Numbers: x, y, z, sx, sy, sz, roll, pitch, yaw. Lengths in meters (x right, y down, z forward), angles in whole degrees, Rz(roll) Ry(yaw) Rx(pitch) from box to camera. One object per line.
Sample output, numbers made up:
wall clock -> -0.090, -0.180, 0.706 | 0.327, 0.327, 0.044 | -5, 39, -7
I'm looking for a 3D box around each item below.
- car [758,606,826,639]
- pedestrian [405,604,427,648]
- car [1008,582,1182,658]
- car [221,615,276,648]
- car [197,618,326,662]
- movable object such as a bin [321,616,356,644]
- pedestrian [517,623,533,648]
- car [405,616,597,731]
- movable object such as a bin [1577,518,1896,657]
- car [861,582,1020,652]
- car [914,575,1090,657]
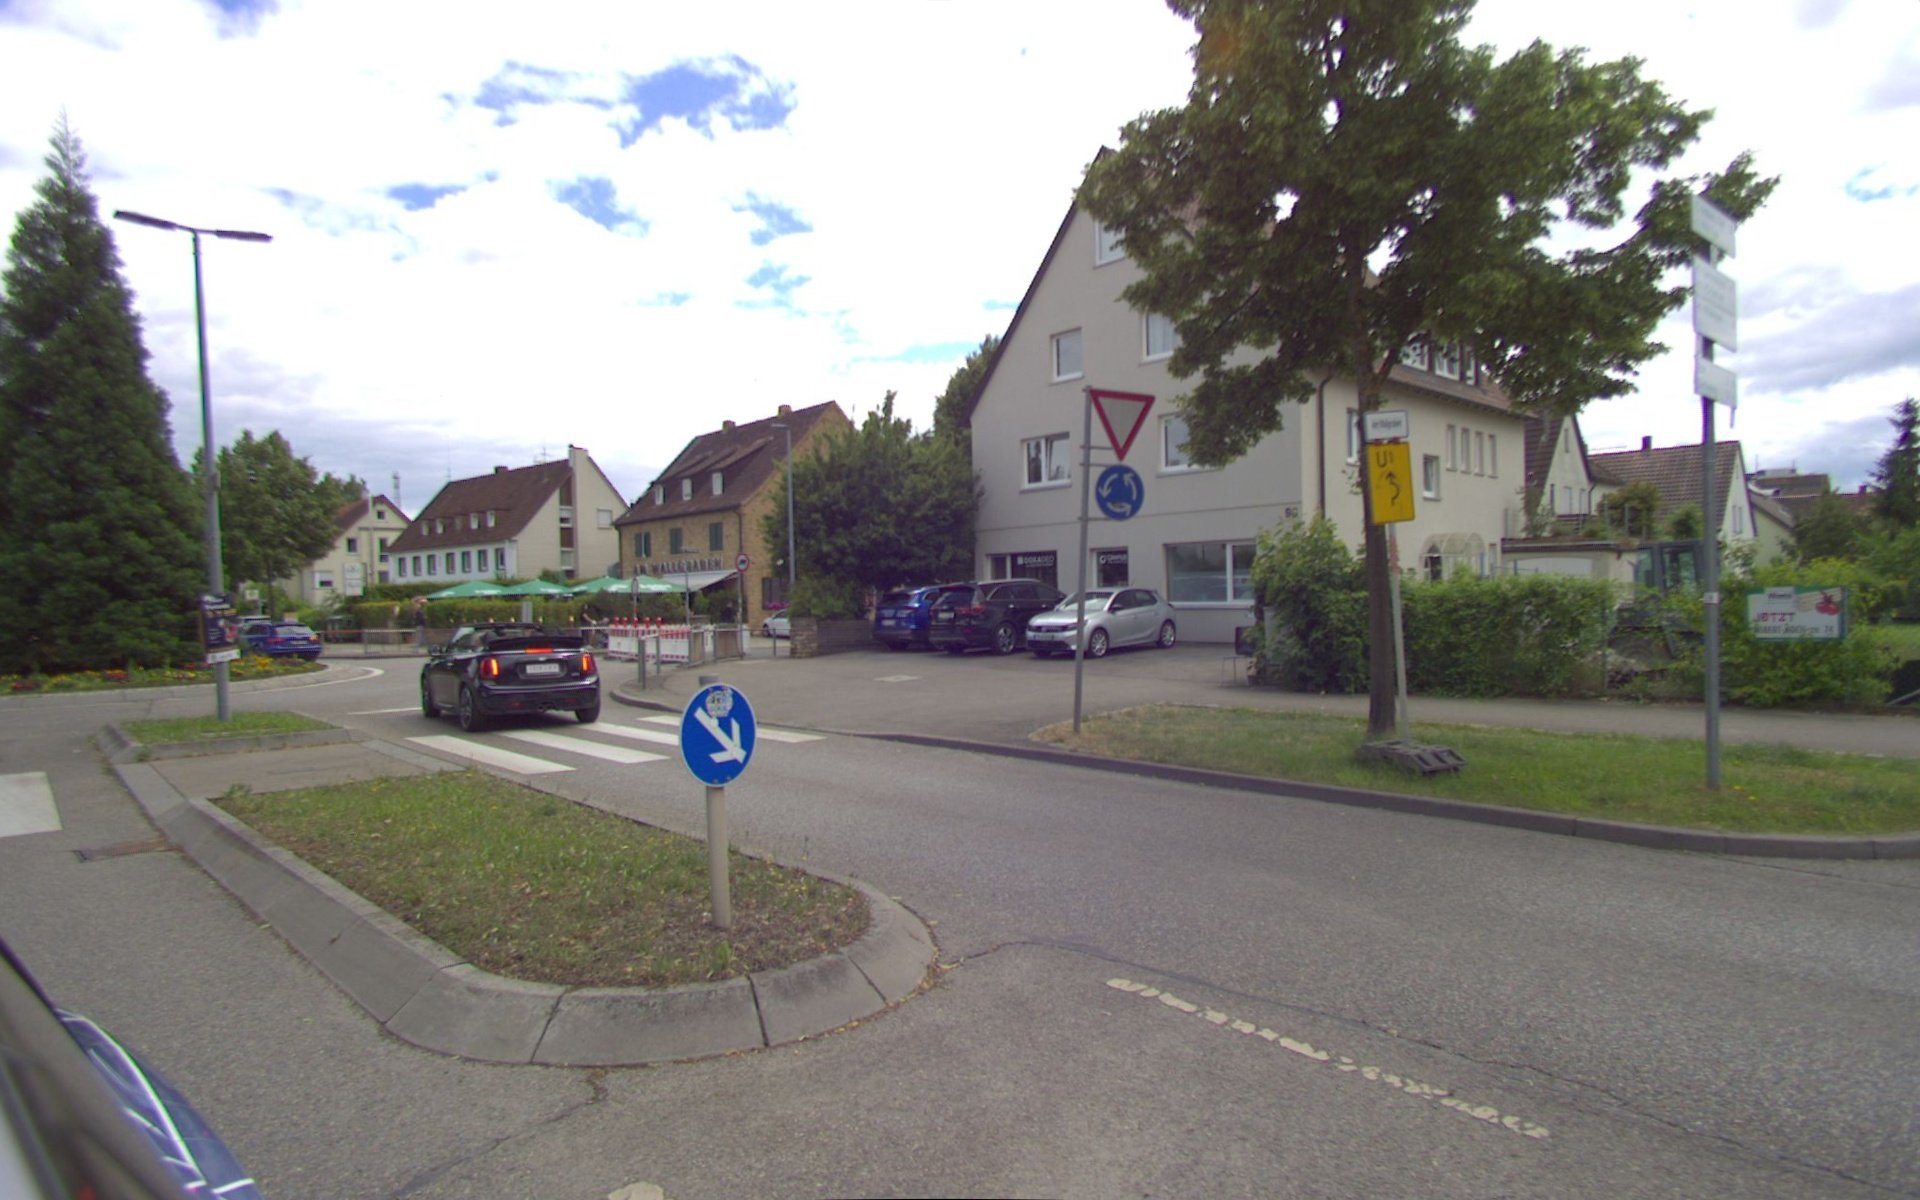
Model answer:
car -> -8.039, 1.059, 48.211 | 1.446, 1.430, 3.679 | -1, 2, -41
pedestrian -> -23.306, 1.121, 43.343 | 0.628, 1.840, 0.567 | -3, 0, -41
car -> 3.010, 0.385, 22.114 | 1.748, 1.413, 3.874 | -2, 1, 45
car -> -37.815, 1.677, 53.734 | 1.727, 1.648, 4.050 | -2, 0, -45
car -> -23.848, 1.332, 34.525 | 4.481, 1.382, 1.601 | 0, 0, 25
movable object such as a bin -> -32.978, 1.575, 53.701 | 0.970, 1.427, 2.724 | -2, 0, -45
pedestrian -> -16.974, 1.376, 39.489 | 0.423, 0.919, 0.340 | -3, 1, 7
car -> -6.624, 0.952, 14.399 | 1.553, 1.372, 3.749 | -1, 0, -39
movable object such as a bin -> 13.841, -0.174, 18.223 | 4.362, 2.204, 1.875 | -2, 0, 43
car -> -0.448, 0.375, 25.865 | 1.820, 1.547, 3.874 | 0, 2, 45
car -> 1.034, 0.308, 23.645 | 3.870, 1.674, 1.858 | -3, 2, -41
